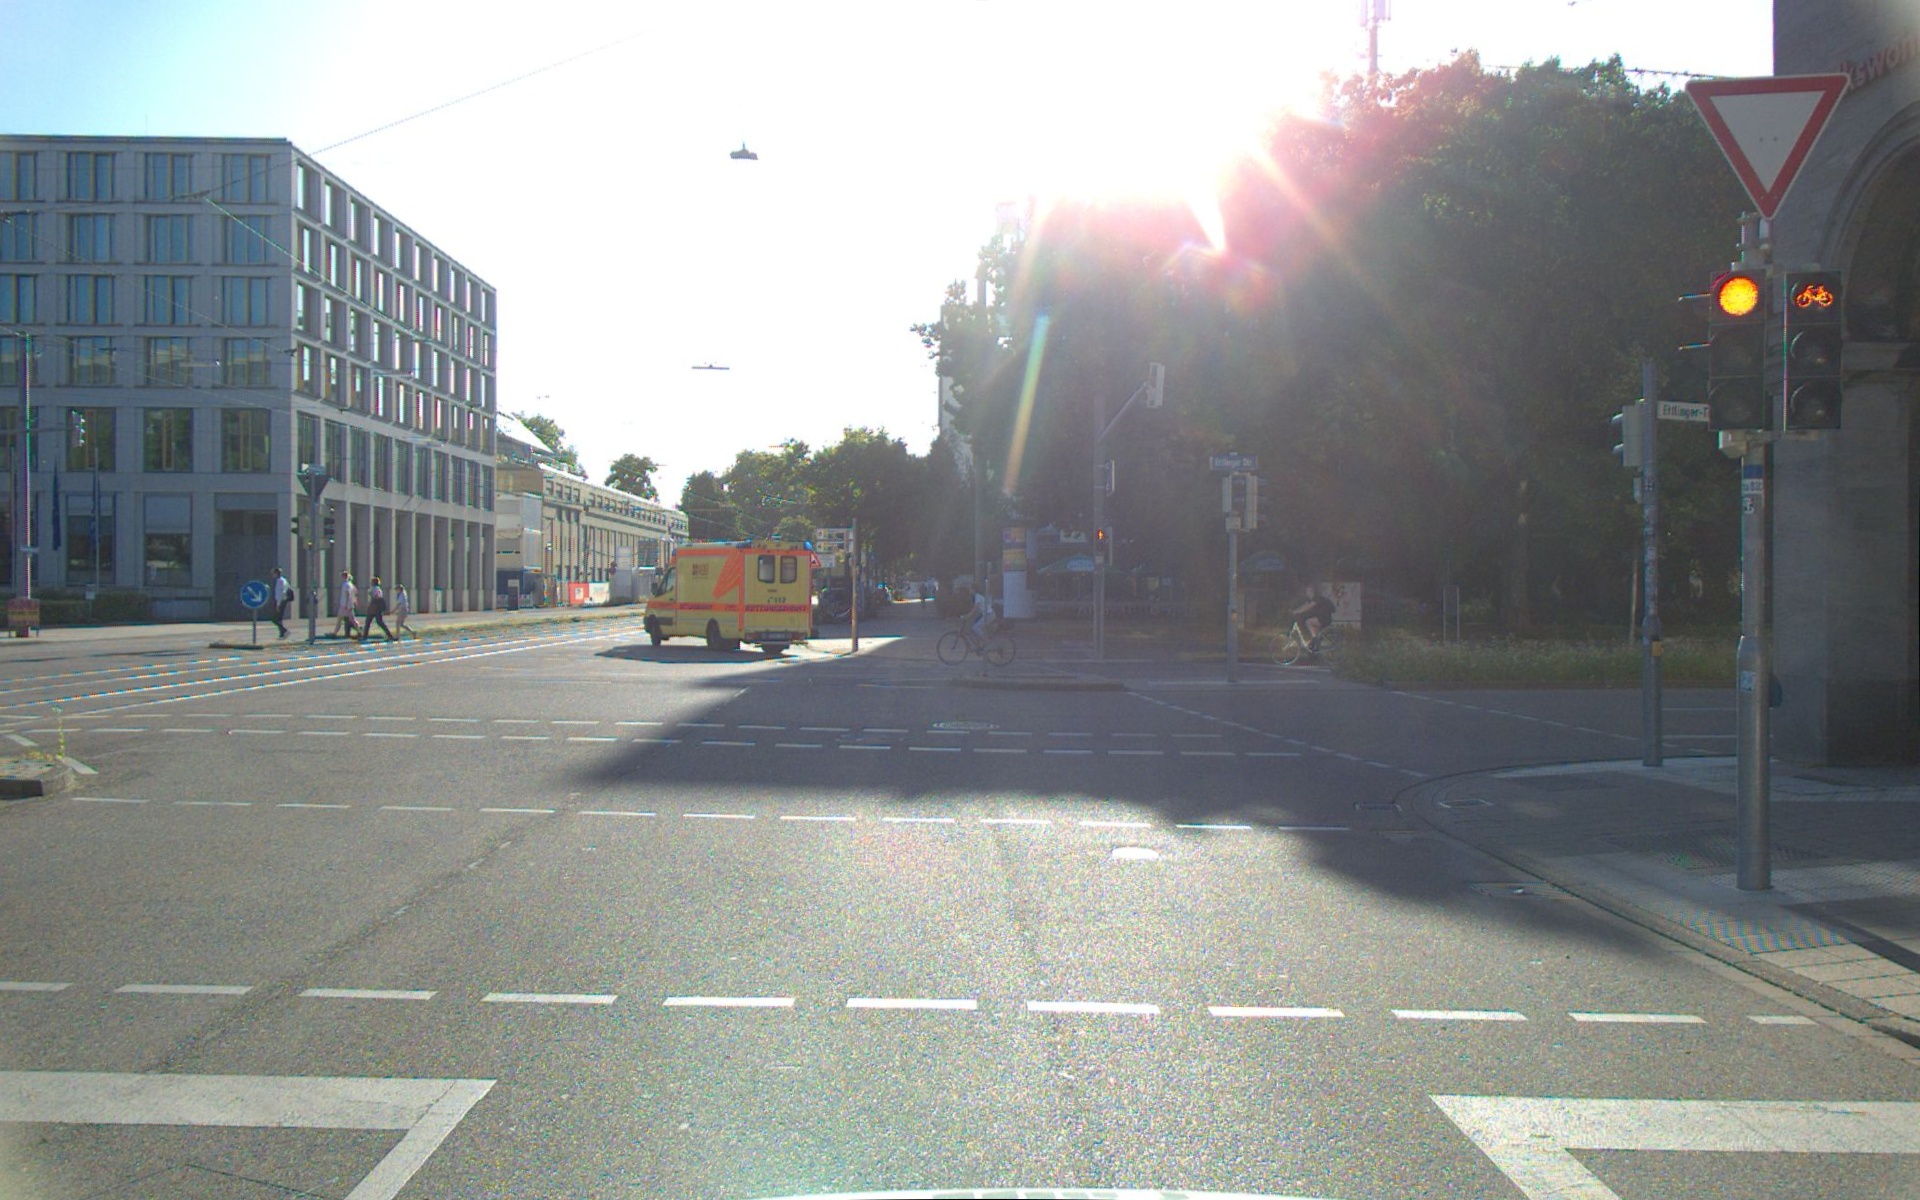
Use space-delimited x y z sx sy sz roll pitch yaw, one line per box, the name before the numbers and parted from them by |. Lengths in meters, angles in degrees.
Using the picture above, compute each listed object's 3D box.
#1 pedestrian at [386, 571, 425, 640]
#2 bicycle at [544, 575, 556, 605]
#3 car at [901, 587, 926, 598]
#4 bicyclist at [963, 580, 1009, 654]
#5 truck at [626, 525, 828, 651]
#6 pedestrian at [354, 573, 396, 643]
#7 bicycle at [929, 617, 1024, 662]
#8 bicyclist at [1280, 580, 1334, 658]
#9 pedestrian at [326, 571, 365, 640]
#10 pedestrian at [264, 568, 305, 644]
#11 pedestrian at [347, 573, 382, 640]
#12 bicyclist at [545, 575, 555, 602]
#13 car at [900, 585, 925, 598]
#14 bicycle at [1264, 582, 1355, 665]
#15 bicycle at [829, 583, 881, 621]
pedestrian | -14.966 0.144 44.663 0.851 1.835 0.532 0 0 4
bicycle | -32.147 -0.777 129.679 0.559 2.336 1.422 0 0 -2
car | -5.899 -0.953 211.169 3.153 1.285 1.372 1 0 -2
bicyclist | 0.554 0.374 35.935 0.955 1.587 0.574 0 0 -4
truck | -6.278 -0.299 43.767 2.695 3.068 6.408 0 0 -35
pedestrian | -15.482 0.200 43.764 0.852 1.835 0.664 0 0 4
bicycle | 0.360 0.853 35.910 2.024 0.949 0.574 0 0 -4
bicyclist | 7.509 0.417 35.852 1.052 1.669 0.597 0 0 2
pedestrian | -16.454 0.154 44.310 0.723 1.835 0.716 0 0 4
pedestrian | -17.547 0.145 42.962 0.785 1.951 0.637 0 0 4
pedestrian | -16.266 0.172 45.180 0.723 1.835 0.532 0 0 4
bicyclist | -32.147 -0.897 129.658 0.559 2.059 0.761 0 0 -2
car | -6.129 -1.153 213.315 3.152 1.616 1.445 1 0 -5
bicycle | 7.565 0.502 35.854 1.858 1.765 0.597 0 0 2
bicycle | -5.158 0.101 81.295 2.495 1.774 1.037 1 0 -1
